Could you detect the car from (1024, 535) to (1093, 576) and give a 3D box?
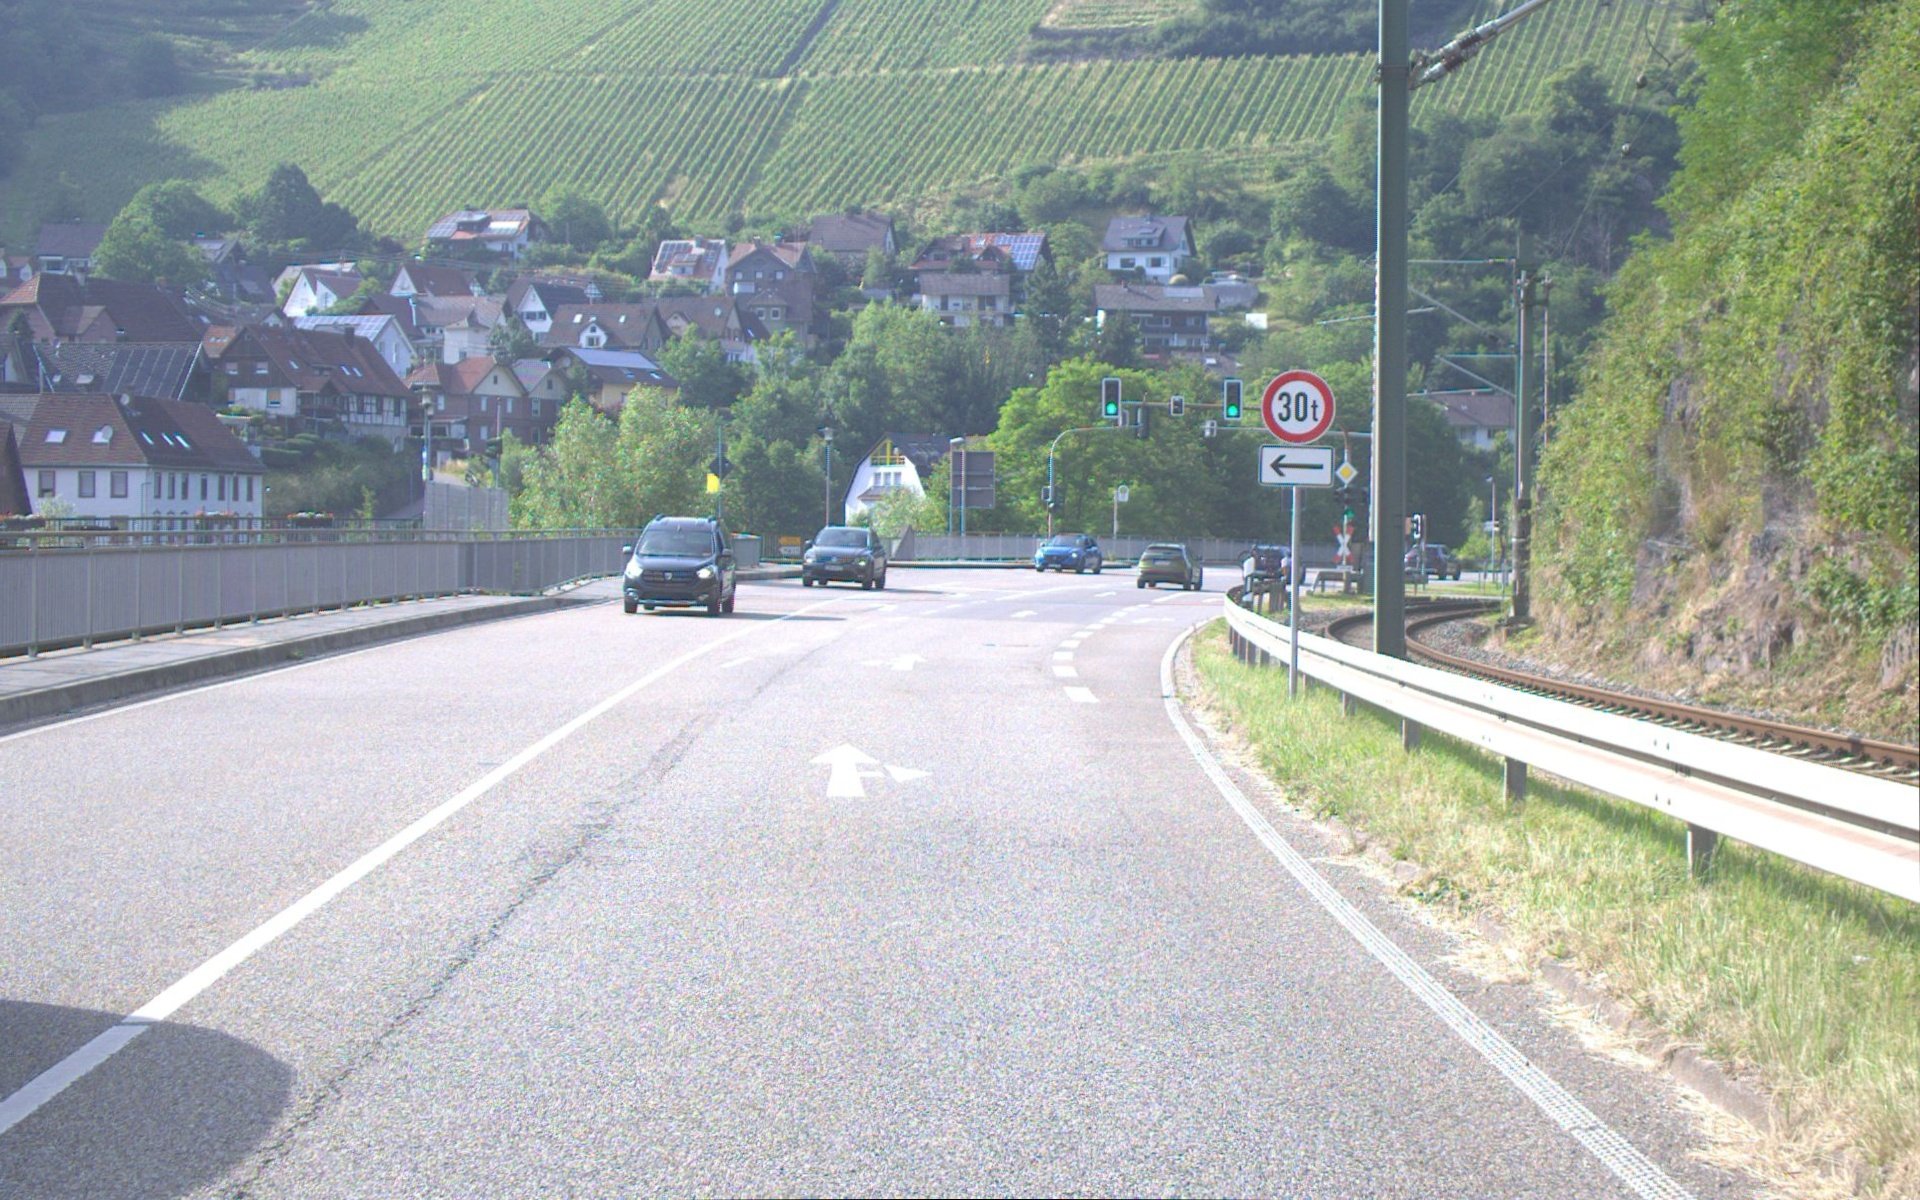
[{"bbox_3d":[3.796,-1.727,132.111,1.783,1.477,4.523,2,1,12],"label":"car"}]

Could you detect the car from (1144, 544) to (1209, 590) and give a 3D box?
[{"bbox_3d":[7.034,-1.054,111.654,1.729,1.452,3.409,0,0,10],"label":"car"}]

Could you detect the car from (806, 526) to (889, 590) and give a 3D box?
[{"bbox_3d":[-2.995,-1.152,92.538,1.817,1.641,4.612,1,1,3],"label":"car"}]

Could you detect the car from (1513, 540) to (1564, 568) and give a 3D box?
[{"bbox_3d":[30.632,-2.431,181.929,1.811,1.403,3.768,0,0,23],"label":"car"}]

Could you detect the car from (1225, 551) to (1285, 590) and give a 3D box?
[{"bbox_3d":[11.306,-1.133,131.666,1.841,1.454,3.711,0,0,12],"label":"car"}]

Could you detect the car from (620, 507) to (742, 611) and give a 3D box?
[{"bbox_3d":[-5.103,-0.770,63.383,1.791,1.821,4.829,1,1,0],"label":"car"}]

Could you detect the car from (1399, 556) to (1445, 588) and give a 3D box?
[{"bbox_3d":[21.624,-1.309,160.725,1.808,1.448,3.645,0,0,12],"label":"car"}]
